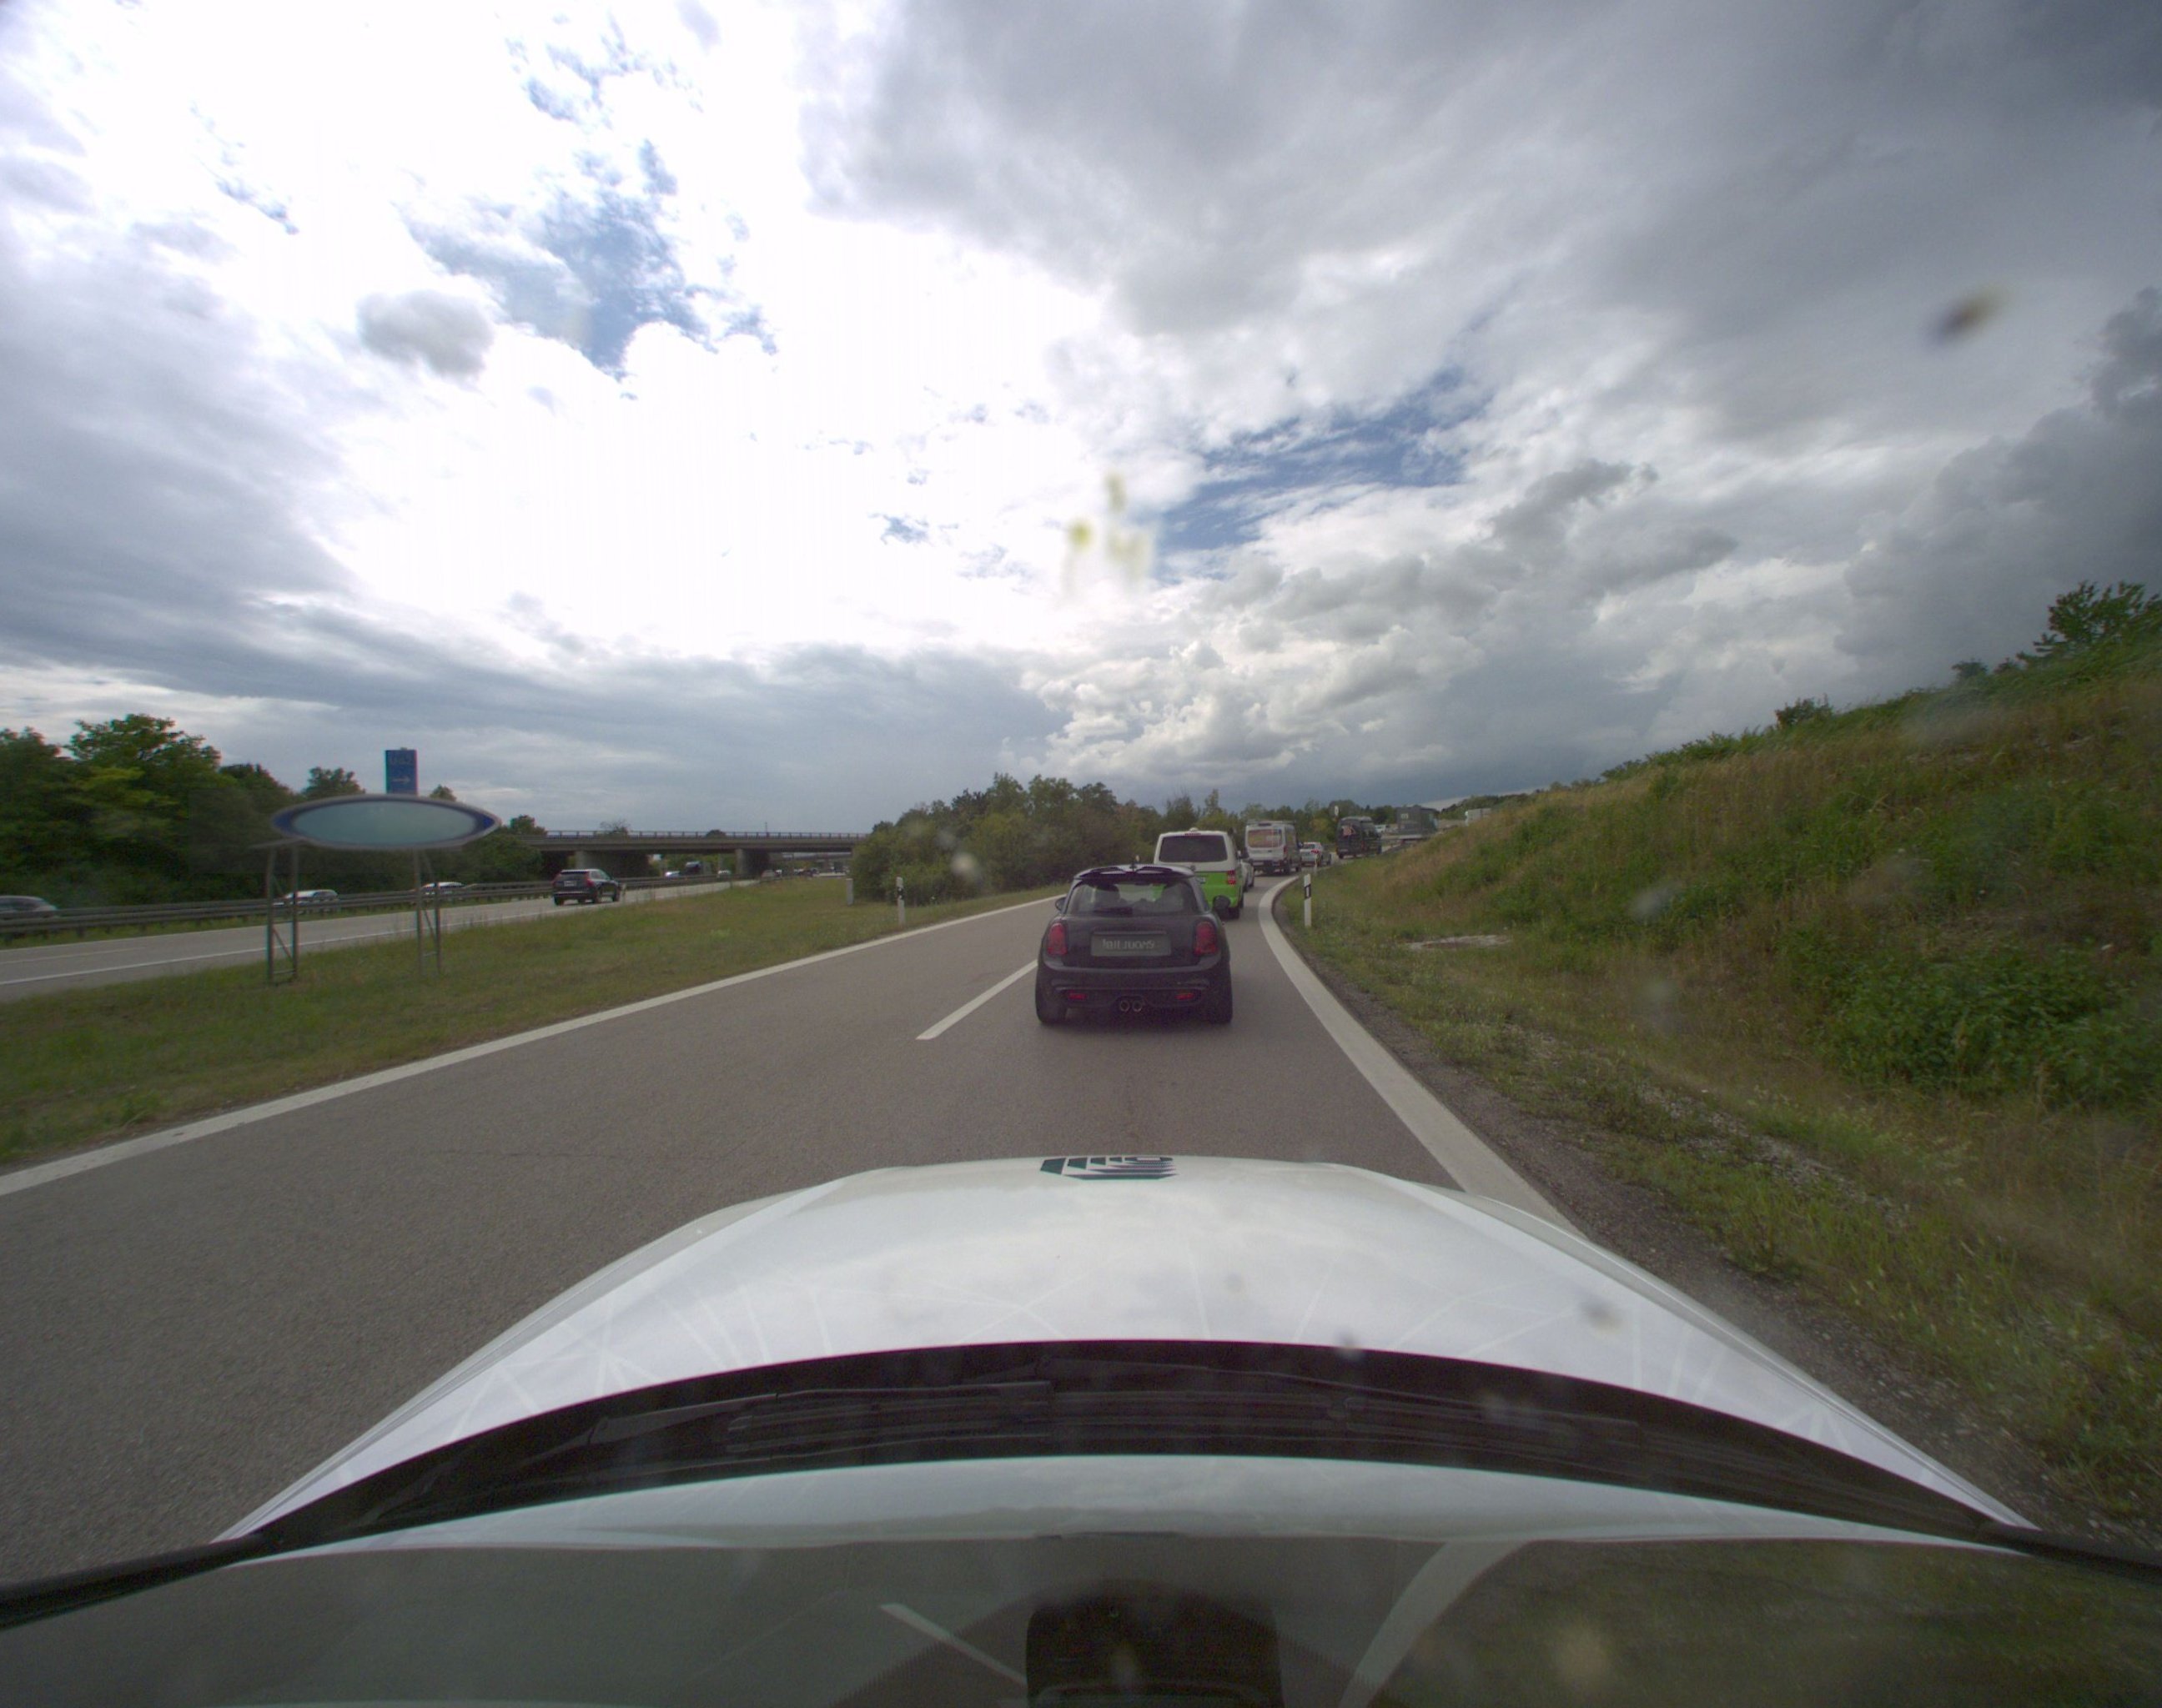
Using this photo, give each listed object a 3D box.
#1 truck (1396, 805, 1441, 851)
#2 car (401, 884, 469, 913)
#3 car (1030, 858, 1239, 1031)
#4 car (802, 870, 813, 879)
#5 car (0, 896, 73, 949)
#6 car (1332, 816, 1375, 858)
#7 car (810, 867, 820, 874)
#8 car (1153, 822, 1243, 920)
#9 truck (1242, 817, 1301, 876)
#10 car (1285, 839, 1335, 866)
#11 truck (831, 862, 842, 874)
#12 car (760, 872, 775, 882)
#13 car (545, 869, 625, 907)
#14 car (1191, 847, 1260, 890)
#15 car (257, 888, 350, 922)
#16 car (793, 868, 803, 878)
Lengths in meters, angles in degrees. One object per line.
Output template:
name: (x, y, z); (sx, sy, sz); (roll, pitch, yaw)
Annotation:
truck: (30.862, -2.270, 74.282); (2.207, 3.907, 6.054); (-2, -2, 38)
car: (-40.336, 2.768, 50.951); (1.876, 1.574, 3.979); (-2, -1, -15)
car: (0.649, 0.772, 8.626); (1.718, 1.413, 3.732); (-1, -1, 6)
car: (-49.825, 3.662, 148.408); (1.720, 1.519, 3.979); (-2, -1, -15)
car: (-34.845, 2.207, 25.652); (1.876, 1.574, 3.979); (-2, -1, -15)
car: (19.088, -1.157, 56.892); (2.085, 2.796, 4.025); (-1, 0, 30)
car: (-66.744, 4.060, 204.237); (1.996, 1.743, 4.806); (-2, 0, -14)
car: (2.815, 0.370, 18.861); (1.772, 2.014, 4.013); (-1, -1, 12)
truck: (9.395, -0.383, 39.871); (2.160, 2.658, 5.134); (-2, 0, 20)
car: (13.540, -0.074, 47.968); (1.848, 1.510, 4.025); (-2, -1, 30)
truck: (-70.495, 3.984, 235.144); (2.471, 3.371, 7.885); (-2, -1, -14)
car: (-49.719, 3.696, 129.258); (1.839, 1.453, 4.356); (-2, -1, -15)
car: (-25.443, 1.699, 41.996); (1.996, 1.761, 4.902); (-2, -1, -13)
car: (5.181, 0.479, 28.812); (1.747, 1.399, 3.743); (-2, -1, 20)
car: (-43.648, 2.834, 45.834); (1.996, 1.629, 3.981); (-2, -1, -14)
car: (-60.172, 3.980, 173.239); (1.998, 2.014, 3.976); (0, -2, -17)
